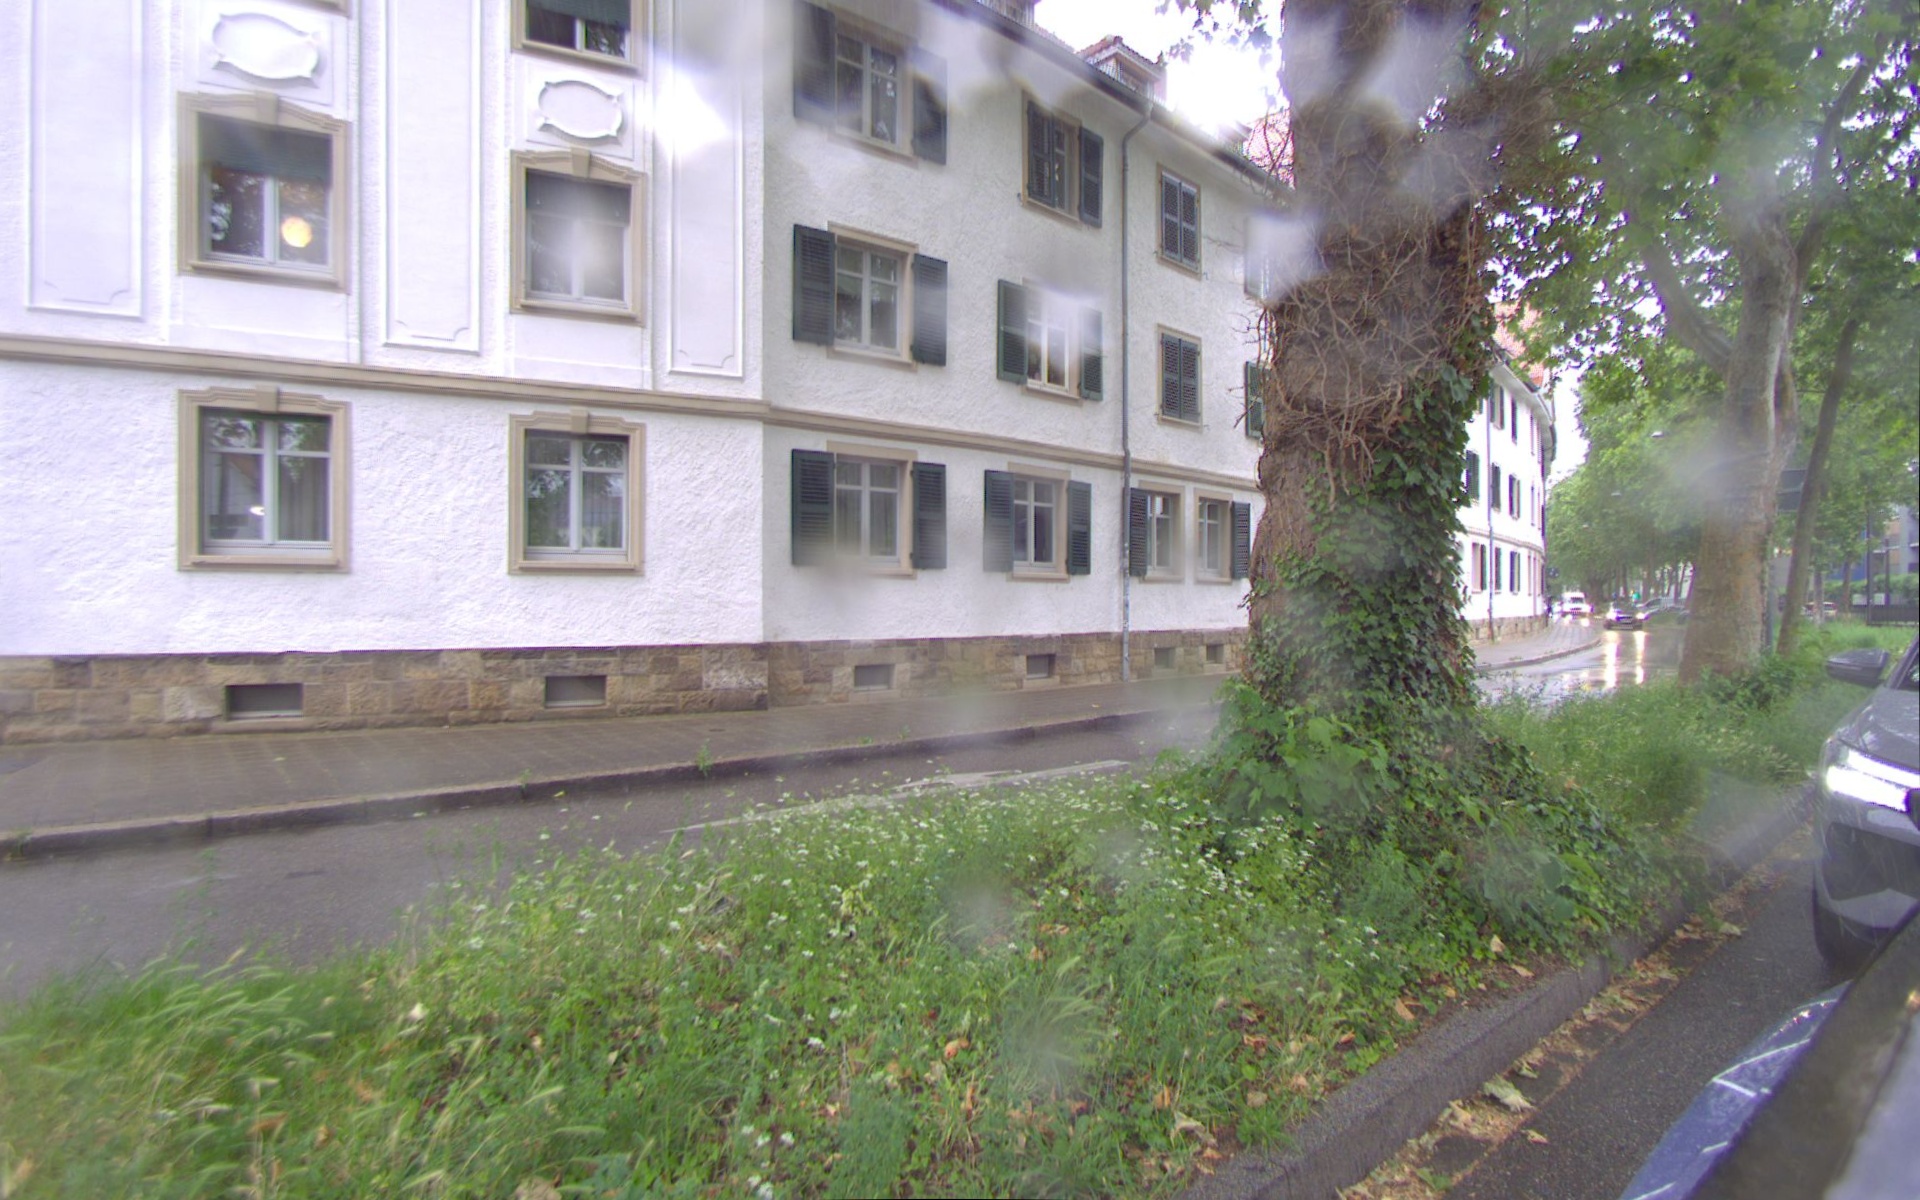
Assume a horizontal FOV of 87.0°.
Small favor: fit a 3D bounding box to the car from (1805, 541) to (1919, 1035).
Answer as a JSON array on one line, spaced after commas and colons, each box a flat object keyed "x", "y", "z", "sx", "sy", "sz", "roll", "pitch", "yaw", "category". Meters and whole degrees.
[{"x": 5.138, "y": 0.622, "z": 4.313, "sx": 4.039, "sy": 1.662, "sz": 1.913, "roll": 0, "pitch": 0, "yaw": -44, "category": "car"}]

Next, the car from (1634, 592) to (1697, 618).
[{"x": 55.907, "y": 0.394, "z": 80.295, "sx": 3.969, "sy": 2.039, "sz": 1.977, "roll": 0, "pitch": -1, "yaw": 32, "category": "car"}]

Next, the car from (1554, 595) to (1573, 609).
[{"x": 72.623, "y": 0.227, "z": 121.860, "sx": 1.816, "sy": 1.545, "sz": 3.959, "roll": 0, "pitch": 0, "yaw": 29, "category": "car"}]

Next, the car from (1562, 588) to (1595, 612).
[{"x": 62.325, "y": -0.004, "z": 102.042, "sx": 2.173, "sy": 2.292, "sz": 5.366, "roll": 0, "pitch": 0, "yaw": 24, "category": "car"}]

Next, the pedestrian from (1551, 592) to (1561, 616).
[{"x": 45.925, "y": 0.311, "z": 77.972, "sx": 0.668, "sy": 1.845, "sz": 0.672, "roll": 0, "pitch": 0, "yaw": 31, "category": "pedestrian"}]

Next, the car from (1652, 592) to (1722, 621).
[{"x": 52.639, "y": 0.477, "z": 73.390, "sx": 3.969, "sy": 2.039, "sz": 1.977, "roll": 0, "pitch": -1, "yaw": 32, "category": "car"}]

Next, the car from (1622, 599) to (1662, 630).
[{"x": 36.862, "y": 0.769, "z": 54.737, "sx": 1.745, "sy": 1.589, "sz": 4.183, "roll": 0, "pitch": 0, "yaw": 34, "category": "car"}]
